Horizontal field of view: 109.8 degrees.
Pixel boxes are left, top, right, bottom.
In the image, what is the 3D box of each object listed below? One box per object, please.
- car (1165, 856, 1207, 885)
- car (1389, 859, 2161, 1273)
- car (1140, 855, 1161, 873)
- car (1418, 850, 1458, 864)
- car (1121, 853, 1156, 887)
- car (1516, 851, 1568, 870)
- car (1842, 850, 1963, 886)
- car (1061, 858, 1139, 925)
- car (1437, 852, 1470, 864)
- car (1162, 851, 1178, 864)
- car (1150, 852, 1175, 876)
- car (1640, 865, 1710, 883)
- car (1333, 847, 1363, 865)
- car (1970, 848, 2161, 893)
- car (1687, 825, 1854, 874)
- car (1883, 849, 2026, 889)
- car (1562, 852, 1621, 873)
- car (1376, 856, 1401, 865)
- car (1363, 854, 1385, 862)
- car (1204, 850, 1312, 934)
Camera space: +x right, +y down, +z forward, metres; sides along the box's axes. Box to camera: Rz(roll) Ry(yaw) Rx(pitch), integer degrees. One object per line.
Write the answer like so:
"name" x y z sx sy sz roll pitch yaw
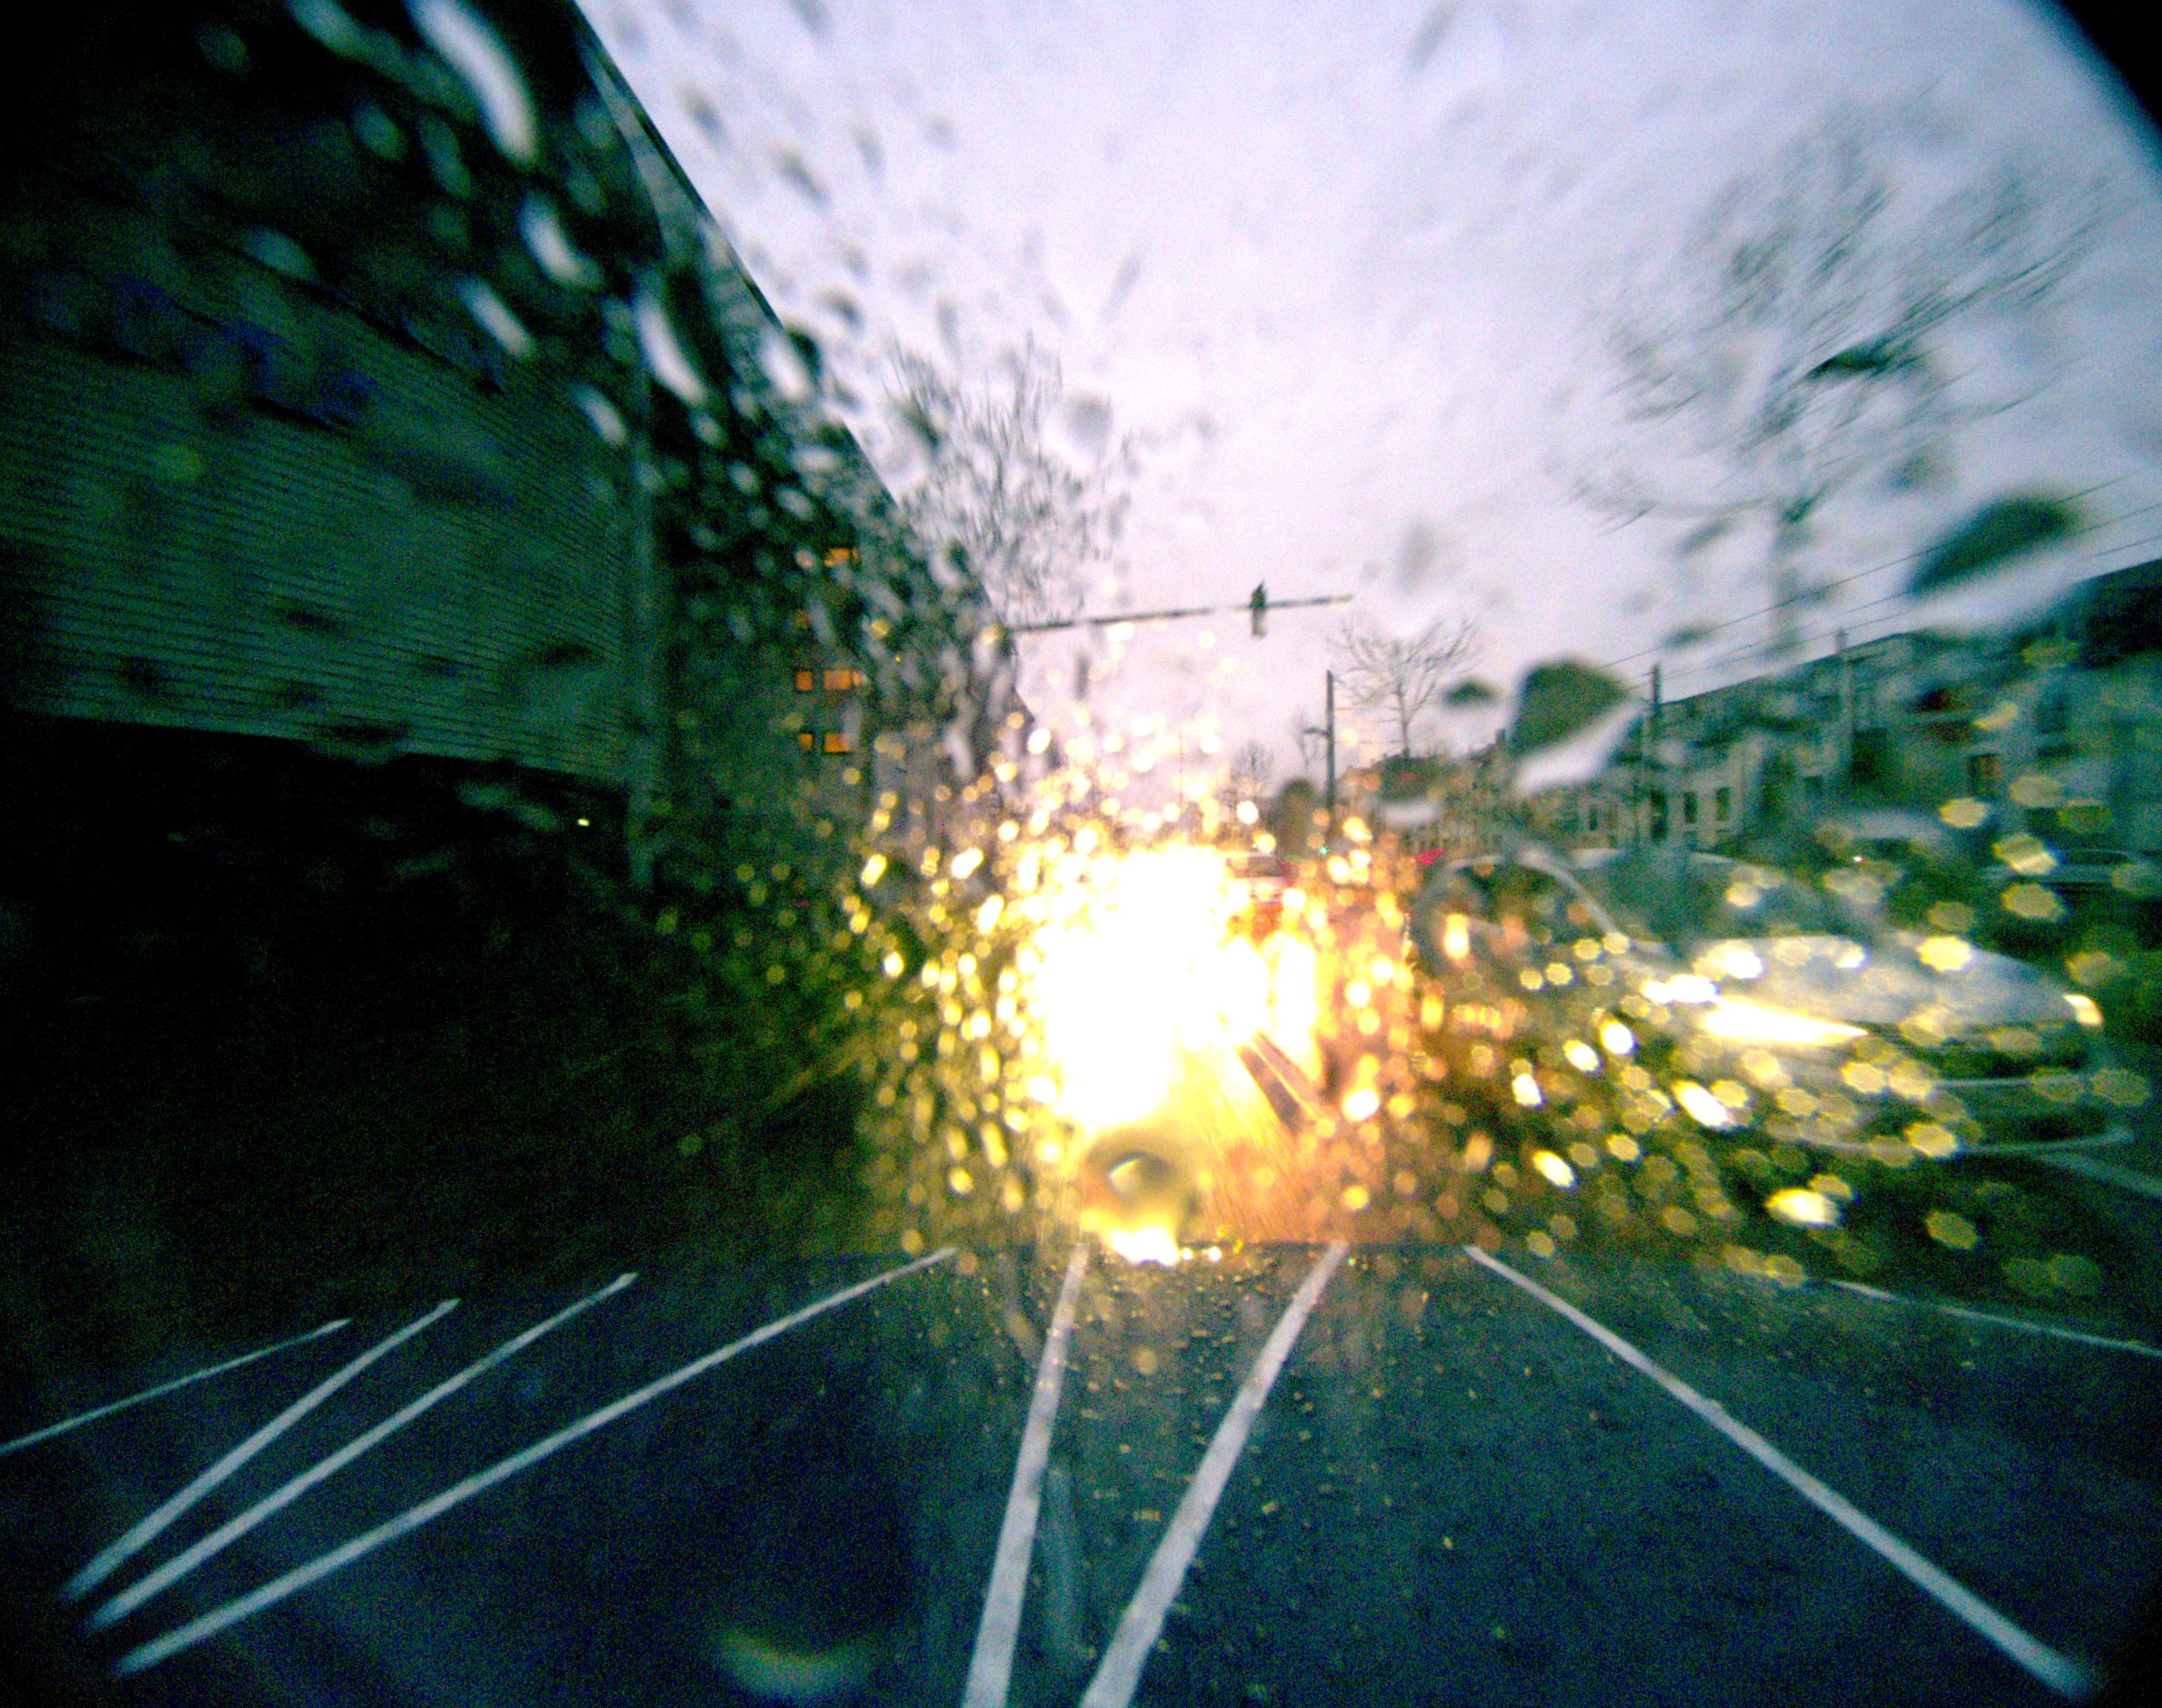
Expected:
"car" 6.042 0.930 44.033 1.975 1.492 4.092 -2 0 2
"car" 3.644 0.825 4.893 1.712 1.457 3.999 -2 1 1
"car" 6.088 0.883 67.026 1.595 1.428 3.805 -2 0 2
"car" 30.746 0.226 65.500 2.810 1.059 1.314 -2 1 6
"car" 3.089 0.842 41.181 1.654 1.673 3.685 -2 -1 2
"car" 34.358 0.475 56.603 3.197 1.309 1.554 -2 1 35
"car" 32.892 0.558 30.528 3.100 1.376 1.316 -2 -1 37
"car" 0.456 0.887 19.545 1.757 1.418 3.803 -2 1 1
"car" 37.031 0.421 75.593 2.626 1.100 1.255 -2 1 6
"car" 11.876 0.408 101.481 1.729 1.646 3.644 -2 1 2
"car" 6.381 0.757 59.706 1.729 1.730 4.055 -2 1 4
"car" 33.776 1.131 43.265 3.100 1.000 1.189 -2 -1 37
"car" 30.414 0.217 86.631 1.998 2.002 3.999 -2 1 1
"car" 31.777 0.538 24.626 3.599 1.376 1.316 -1 -1 34
"car" 33.495 -0.183 37.207 5.893 2.242 1.825 -1 1 36
"car" 31.964 0.556 27.917 3.198 1.376 1.316 -1 -1 34
"car" 33.961 0.557 50.598 3.197 1.309 1.554 -2 1 33
"car" 36.137 0.771 89.324 2.565 0.981 1.257 -2 1 33
"car" 36.902 0.493 95.782 2.289 0.981 1.125 -2 1 7
"car" 4.047 0.801 18.004 2.020 1.667 4.001 -2 1 7
